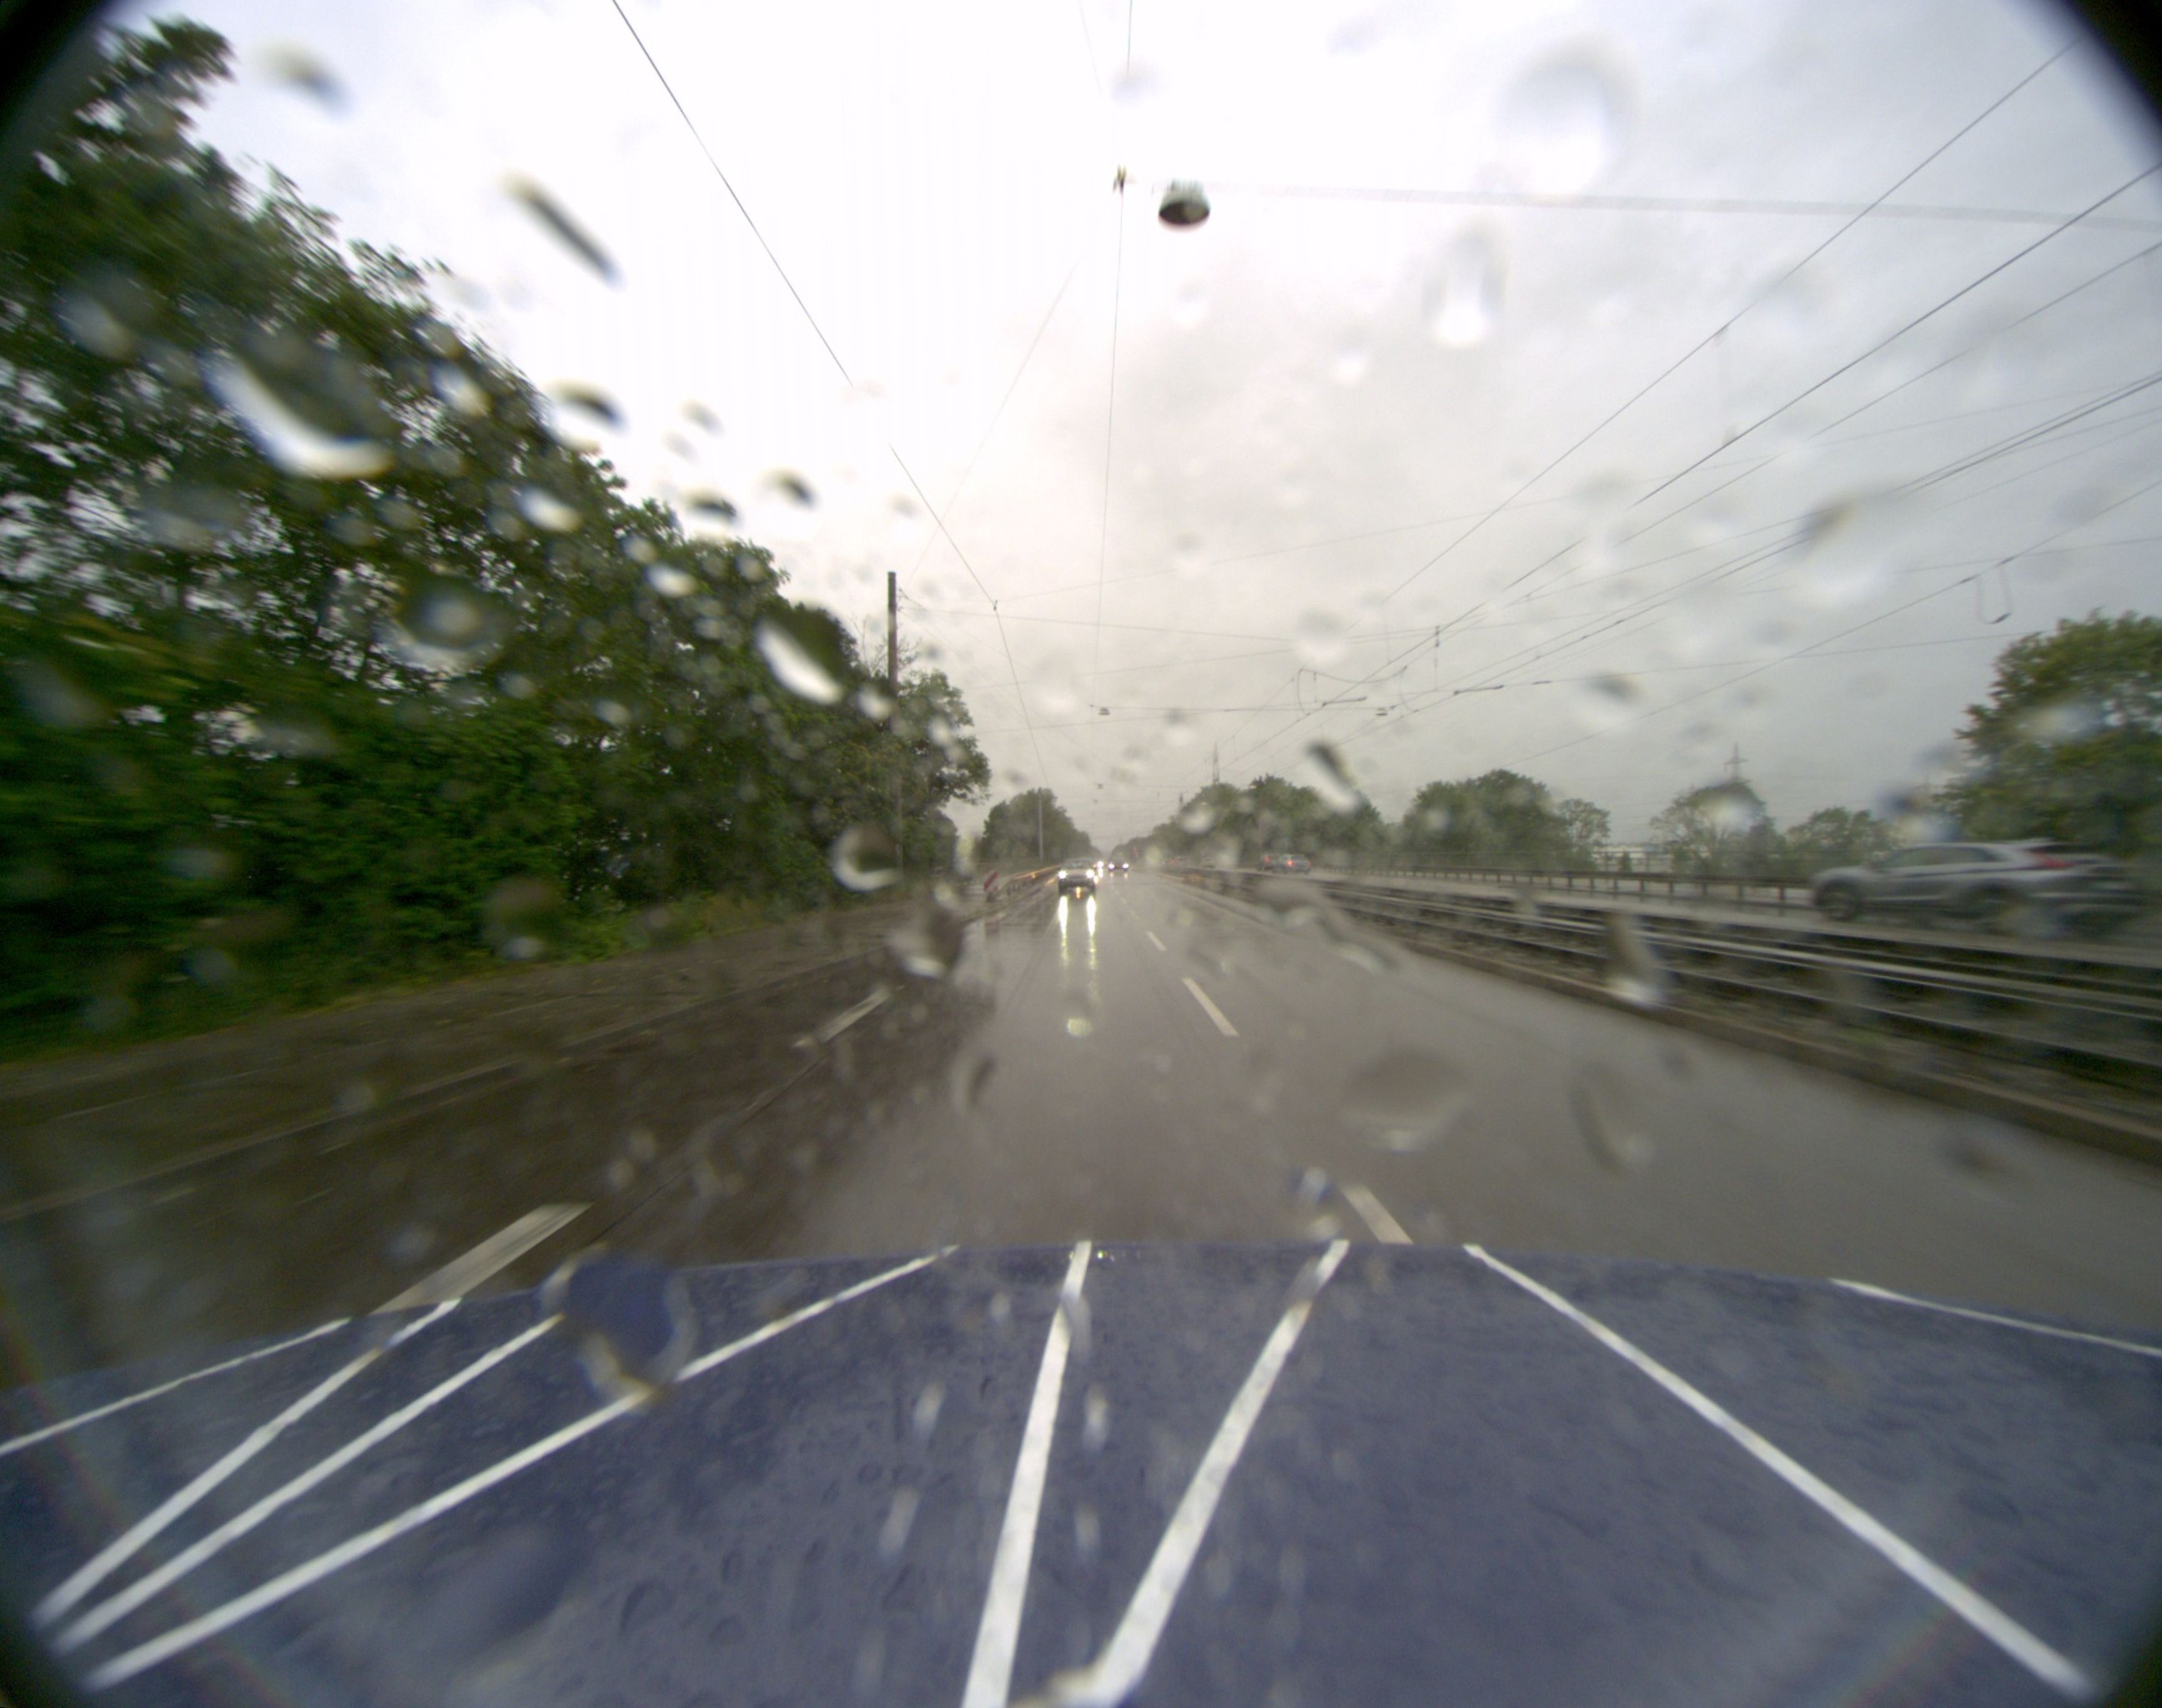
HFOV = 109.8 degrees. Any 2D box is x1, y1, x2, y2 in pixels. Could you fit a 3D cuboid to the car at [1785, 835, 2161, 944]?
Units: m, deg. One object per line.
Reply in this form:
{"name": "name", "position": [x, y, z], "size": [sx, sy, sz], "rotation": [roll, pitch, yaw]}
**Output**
{"name": "car", "position": [16.502, 0.551, 14.284], "size": [1.999, 1.662, 4.872], "rotation": [-2, 0, 0]}

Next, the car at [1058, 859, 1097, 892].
{"name": "car", "position": [-0.120, 0.990, 36.084], "size": [1.750, 1.412, 4.000], "rotation": [0, 1, 1]}

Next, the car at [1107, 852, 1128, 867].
{"name": "car", "position": [3.755, 0.572, 78.568], "size": [1.971, 1.412, 4.000], "rotation": [0, 1, 1]}

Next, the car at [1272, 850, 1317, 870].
{"name": "car", "position": [15.904, 0.423, 56.883], "size": [1.999, 1.380, 4.853], "rotation": [-2, 0, 0]}

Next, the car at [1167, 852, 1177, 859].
{"name": "car", "position": [22.136, 0.290, 185.161], "size": [1.837, 1.701, 4.661], "rotation": [-1, 0, 1]}

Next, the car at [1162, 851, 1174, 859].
{"name": "car", "position": [18.383, 0.241, 160.987], "size": [1.998, 1.608, 4.000], "rotation": [-1, 1, 1]}

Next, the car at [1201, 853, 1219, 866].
{"name": "car", "position": [17.712, 0.745, 104.534], "size": [1.851, 1.585, 4.000], "rotation": [-2, 1, 1]}

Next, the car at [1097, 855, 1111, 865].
{"name": "car", "position": [3.350, 0.821, 112.498], "size": [1.971, 1.412, 4.000], "rotation": [0, 1, 1]}

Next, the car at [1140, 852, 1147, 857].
{"name": "car", "position": [19.467, 0.136, 237.696], "size": [1.777, 1.621, 3.670], "rotation": [-5, 1, 1]}

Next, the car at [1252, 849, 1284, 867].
{"name": "car", "position": [17.017, 0.317, 69.386], "size": [1.845, 1.565, 4.385], "rotation": [-2, 1, 1]}

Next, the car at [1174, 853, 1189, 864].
{"name": "car", "position": [17.640, 0.787, 133.620], "size": [1.853, 1.821, 4.393], "rotation": [-5, 1, 1]}
